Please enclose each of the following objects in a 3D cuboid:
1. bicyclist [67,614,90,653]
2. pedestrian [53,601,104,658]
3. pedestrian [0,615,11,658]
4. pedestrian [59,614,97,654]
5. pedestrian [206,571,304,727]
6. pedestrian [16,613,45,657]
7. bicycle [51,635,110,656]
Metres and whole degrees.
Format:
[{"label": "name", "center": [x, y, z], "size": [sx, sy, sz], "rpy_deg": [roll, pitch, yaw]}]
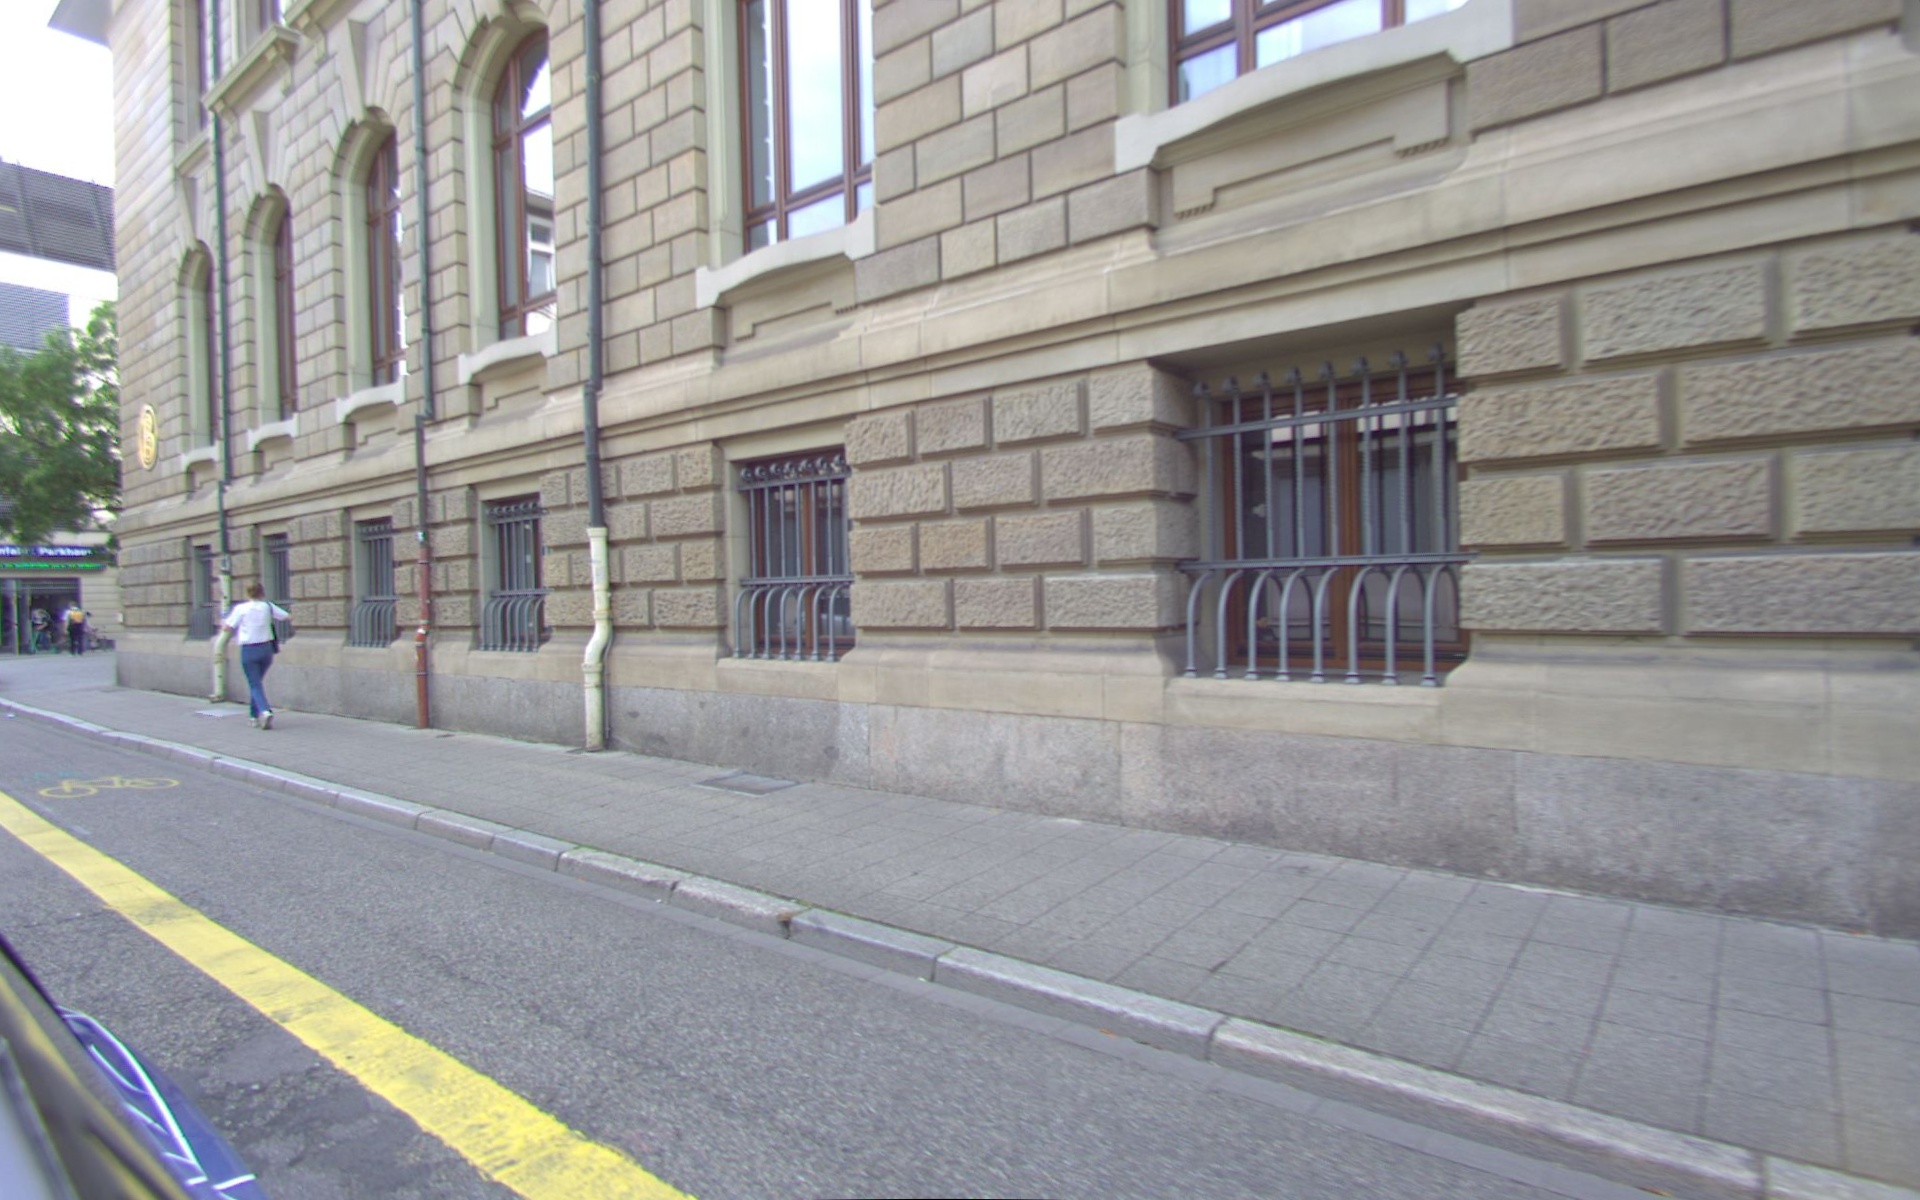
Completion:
[{"label": "bicyclist", "center": [-37.046, 1.379, 42.515], "size": [0.662, 1.607, 0.580], "rpy_deg": [-1, 0, 36]}, {"label": "pedestrian", "center": [-28.392, 0.941, 32.591], "size": [0.818, 1.732, 1.016], "rpy_deg": [-1, 3, 38]}, {"label": "pedestrian", "center": [-41.042, 1.559, 43.077], "size": [0.857, 1.844, 0.642], "rpy_deg": [-1, 0, 25]}, {"label": "pedestrian", "center": [-41.032, 1.558, 47.073], "size": [0.891, 1.778, 1.048], "rpy_deg": [-1, 3, 35]}, {"label": "pedestrian", "center": [-8.722, 0.576, 12.518], "size": [1.047, 1.833, 0.657], "rpy_deg": [-1, 2, 39]}, {"label": "pedestrian", "center": [-40.401, 1.517, 43.982], "size": [0.857, 1.844, 0.642], "rpy_deg": [-1, 0, 25]}, {"label": "bicycle", "center": [-36.987, 1.898, 42.585], "size": [0.662, 0.803, 1.749], "rpy_deg": [-1, 0, 35]}]
